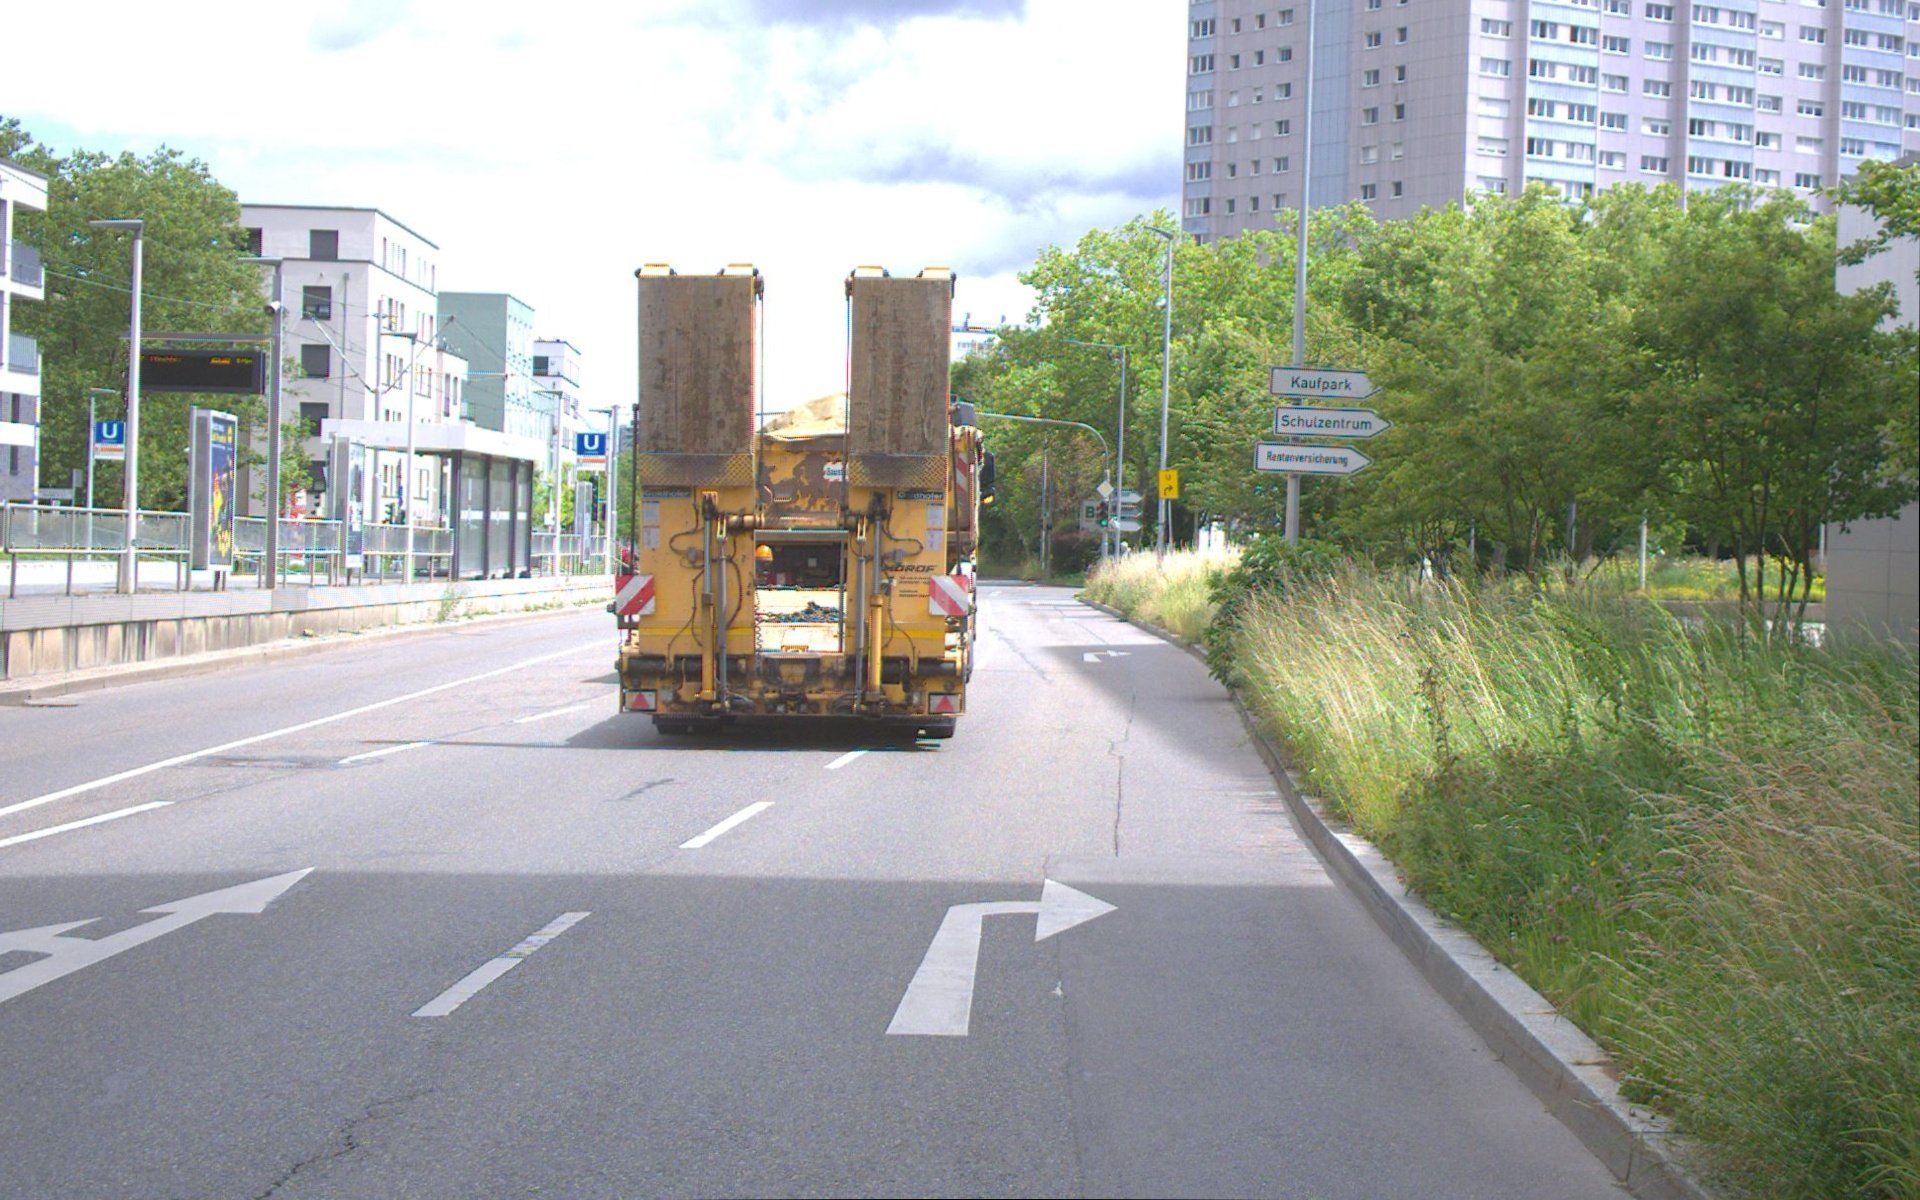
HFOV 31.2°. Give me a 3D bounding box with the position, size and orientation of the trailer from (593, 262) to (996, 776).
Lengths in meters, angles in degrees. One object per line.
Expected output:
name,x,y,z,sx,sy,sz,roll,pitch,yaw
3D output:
trailer,-1.146,-0.672,29.937,2.729,3.546,11.254,2,1,0

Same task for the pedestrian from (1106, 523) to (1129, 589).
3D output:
pedestrian,4.906,-1.370,106.914,0.561,2.007,0.492,2,0,-9

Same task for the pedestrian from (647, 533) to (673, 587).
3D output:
pedestrian,-9.073,-1.212,104.046,0.681,1.597,0.823,2,1,-1

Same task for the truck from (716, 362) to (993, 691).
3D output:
truck,-1.083,-0.837,39.727,2.753,3.302,8.352,2,1,0
